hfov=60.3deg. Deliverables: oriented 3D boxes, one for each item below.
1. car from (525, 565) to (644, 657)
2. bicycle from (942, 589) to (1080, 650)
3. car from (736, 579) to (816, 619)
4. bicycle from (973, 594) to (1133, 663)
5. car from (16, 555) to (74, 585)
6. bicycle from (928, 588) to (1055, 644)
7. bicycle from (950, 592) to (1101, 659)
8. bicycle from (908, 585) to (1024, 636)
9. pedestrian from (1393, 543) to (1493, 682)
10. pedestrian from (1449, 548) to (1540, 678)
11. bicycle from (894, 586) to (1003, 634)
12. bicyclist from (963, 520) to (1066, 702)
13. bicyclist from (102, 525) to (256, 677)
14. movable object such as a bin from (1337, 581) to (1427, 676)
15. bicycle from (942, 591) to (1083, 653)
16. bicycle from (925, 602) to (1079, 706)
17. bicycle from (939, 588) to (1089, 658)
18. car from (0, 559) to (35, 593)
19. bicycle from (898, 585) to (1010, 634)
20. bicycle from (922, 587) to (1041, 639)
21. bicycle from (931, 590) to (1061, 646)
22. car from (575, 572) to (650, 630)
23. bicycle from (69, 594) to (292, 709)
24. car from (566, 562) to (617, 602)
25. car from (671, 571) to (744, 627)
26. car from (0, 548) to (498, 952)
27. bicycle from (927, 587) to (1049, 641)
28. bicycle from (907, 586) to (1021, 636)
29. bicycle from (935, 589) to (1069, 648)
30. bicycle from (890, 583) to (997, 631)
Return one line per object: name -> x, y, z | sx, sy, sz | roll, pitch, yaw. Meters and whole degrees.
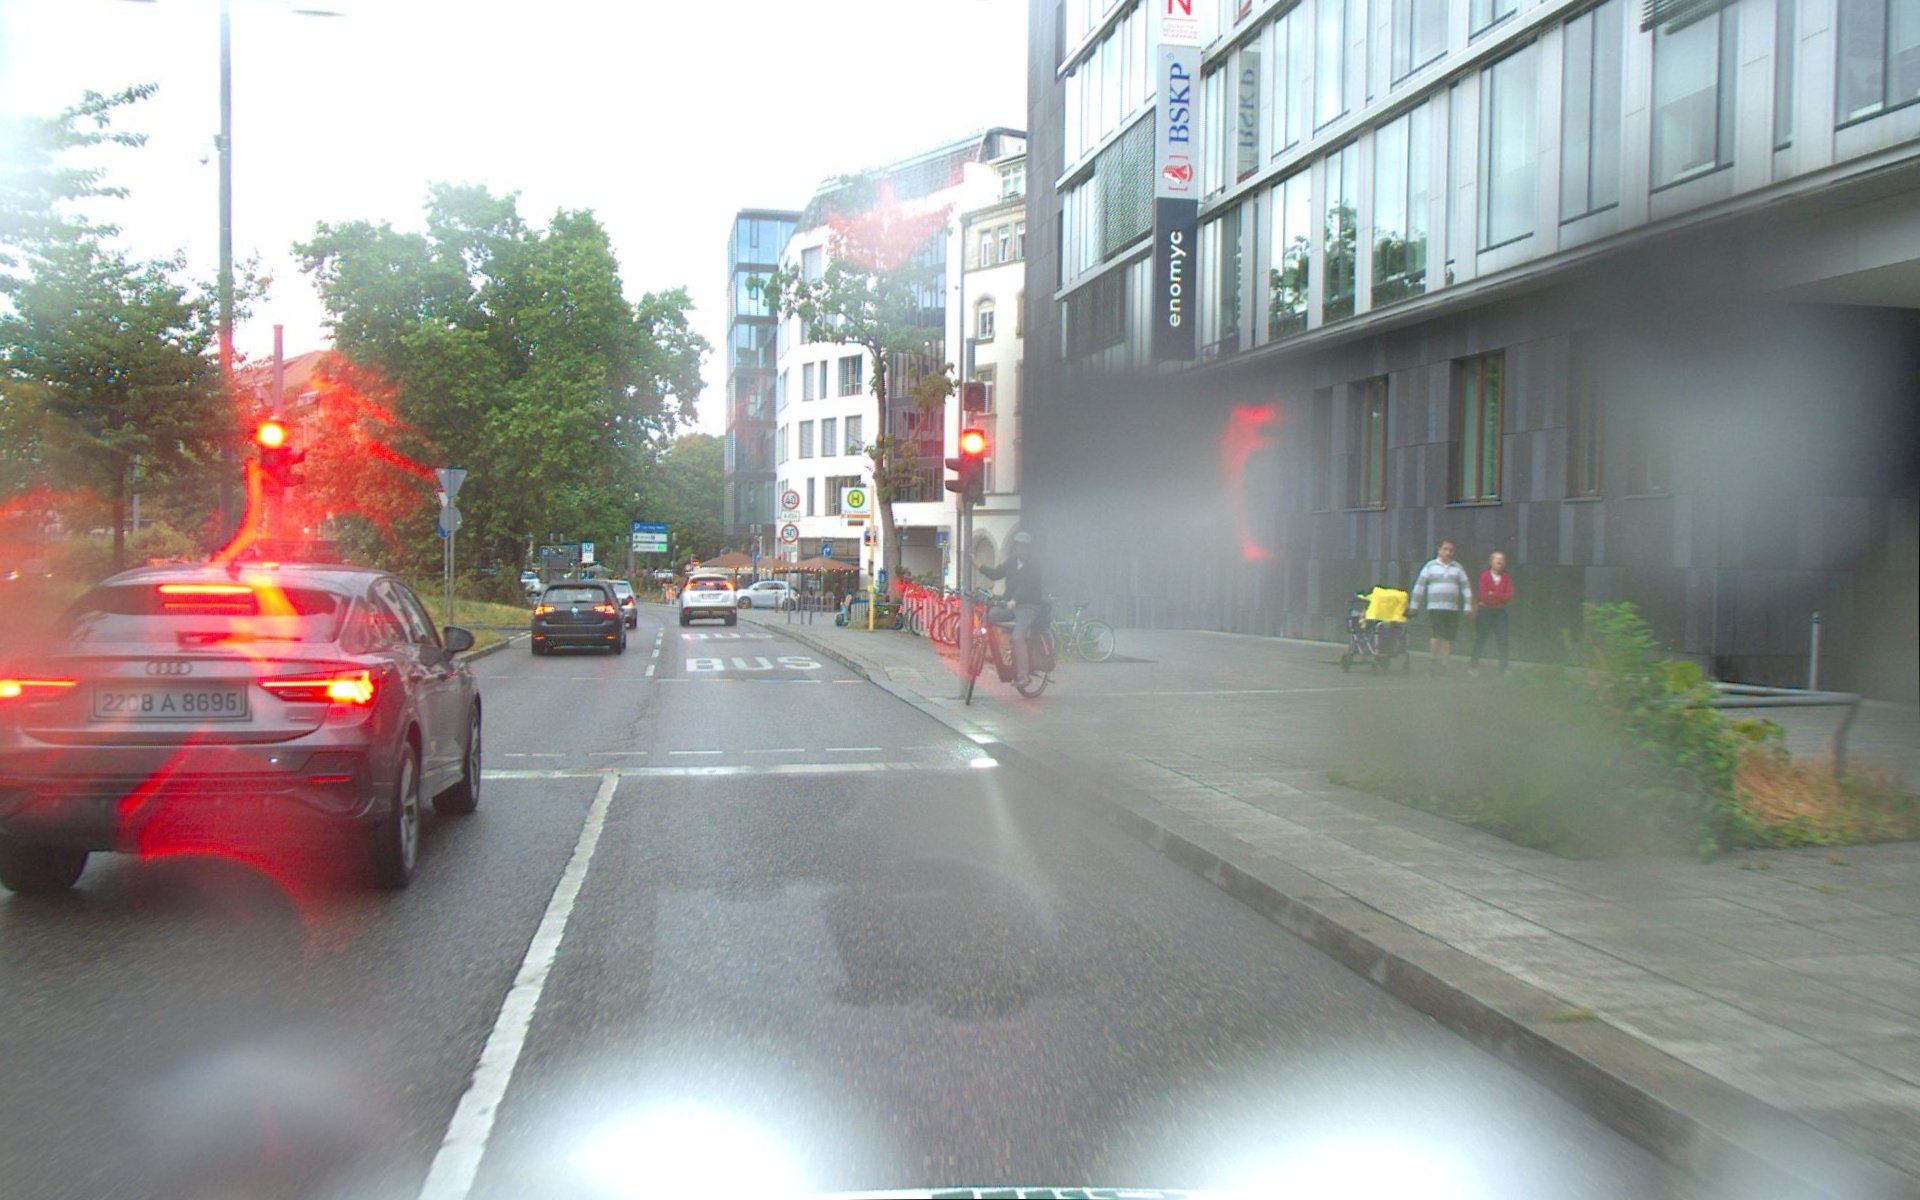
car -> -7.570, 0.185, 33.718 | 2.123, 1.735, 4.543 | 1, 1, -10
bicycle -> 0.951, 0.359, 30.908 | 2.491, 1.106, 0.675 | 0, 0, -12
car -> -9.563, -0.060, 85.736 | 3.914, 1.675, 1.996 | 5, 0, -9
bicycle -> 1.497, 0.453, 26.588 | 2.491, 1.075, 0.675 | 0, 0, -12
car -> -50.223, -1.638, 90.883 | 1.775, 1.512, 4.364 | 2, 0, -16
bicycle -> 0.632, 0.313, 33.471 | 2.491, 1.106, 0.675 | 0, 0, -12
bicycle -> 1.105, 0.416, 28.026 | 2.491, 1.106, 0.675 | 0, 0, -12
bicycle -> 0.131, 0.221, 36.442 | 2.491, 1.106, 0.675 | 0, 0, -12
pedestrian -> 6.556, 0.156, 22.496 | 0.884, 1.823, 1.044 | -2, 1, -12
pedestrian -> 7.350, 0.165, 22.767 | 0.705, 1.719, 1.097 | -2, 1, -12
bicycle -> -0.276, 0.220, 38.795 | 2.491, 1.106, 0.675 | 0, 0, -12
bicyclist -> 0.663, 0.121, 19.952 | 0.748, 2.119, 1.080 | 0, 0, 38
bicyclist -> -8.769, 0.011, 18.604 | 1.108, 1.610, 1.016 | 3, 0, 13
movable object such as a bin -> 6.066, 0.390, 23.849 | 0.718, 1.286, 1.441 | -2, 1, -9
bicycle -> 0.952, 0.389, 30.049 | 2.491, 1.106, 0.675 | 0, 0, -12
bicycle -> 0.529, 0.610, 19.776 | 0.748, 1.165, 2.124 | 0, 0, 37
bicycle -> 0.938, 0.400, 28.814 | 2.491, 1.106, 0.675 | 2, 0, -12
car -> -44.820, -1.148, 77.839 | 1.781, 1.512, 3.971 | 2, 0, -24
bicycle -> -0.144, 0.216, 38.059 | 2.491, 1.106, 0.675 | 0, 0, -12
bicycle -> 0.461, 0.272, 35.638 | 2.491, 1.106, 0.675 | 0, 0, -12
bicycle -> 0.708, 0.338, 32.566 | 2.491, 1.078, 0.675 | 0, 0, -12
car -> -10.602, 0.009, 50.299 | 1.914, 1.675, 4.226 | 1, 1, -16
bicycle -> -8.737, 0.558, 18.577 | 2.017, 1.133, 1.012 | 3, 0, 13
car -> -16.289, -0.795, 72.954 | 1.914, 1.675, 3.981 | 1, 1, -17
car -> -8.369, -0.058, 54.578 | 2.140, 1.730, 3.989 | 1, 1, -12
car -> -3.637, 0.573, 8.942 | 1.815, 1.644, 4.242 | 1, 1, -11
bicycle -> 0.585, 0.285, 34.669 | 2.491, 1.106, 0.675 | 0, 0, -12
bicycle -> 0.079, 0.237, 37.192 | 2.491, 1.106, 0.675 | 0, 0, -12
bicycle -> 0.802, 0.346, 31.705 | 2.491, 1.106, 0.675 | 0, 0, -12
bicycle -> -0.394, 0.161, 39.507 | 2.491, 1.106, 0.625 | 0, 0, -12
